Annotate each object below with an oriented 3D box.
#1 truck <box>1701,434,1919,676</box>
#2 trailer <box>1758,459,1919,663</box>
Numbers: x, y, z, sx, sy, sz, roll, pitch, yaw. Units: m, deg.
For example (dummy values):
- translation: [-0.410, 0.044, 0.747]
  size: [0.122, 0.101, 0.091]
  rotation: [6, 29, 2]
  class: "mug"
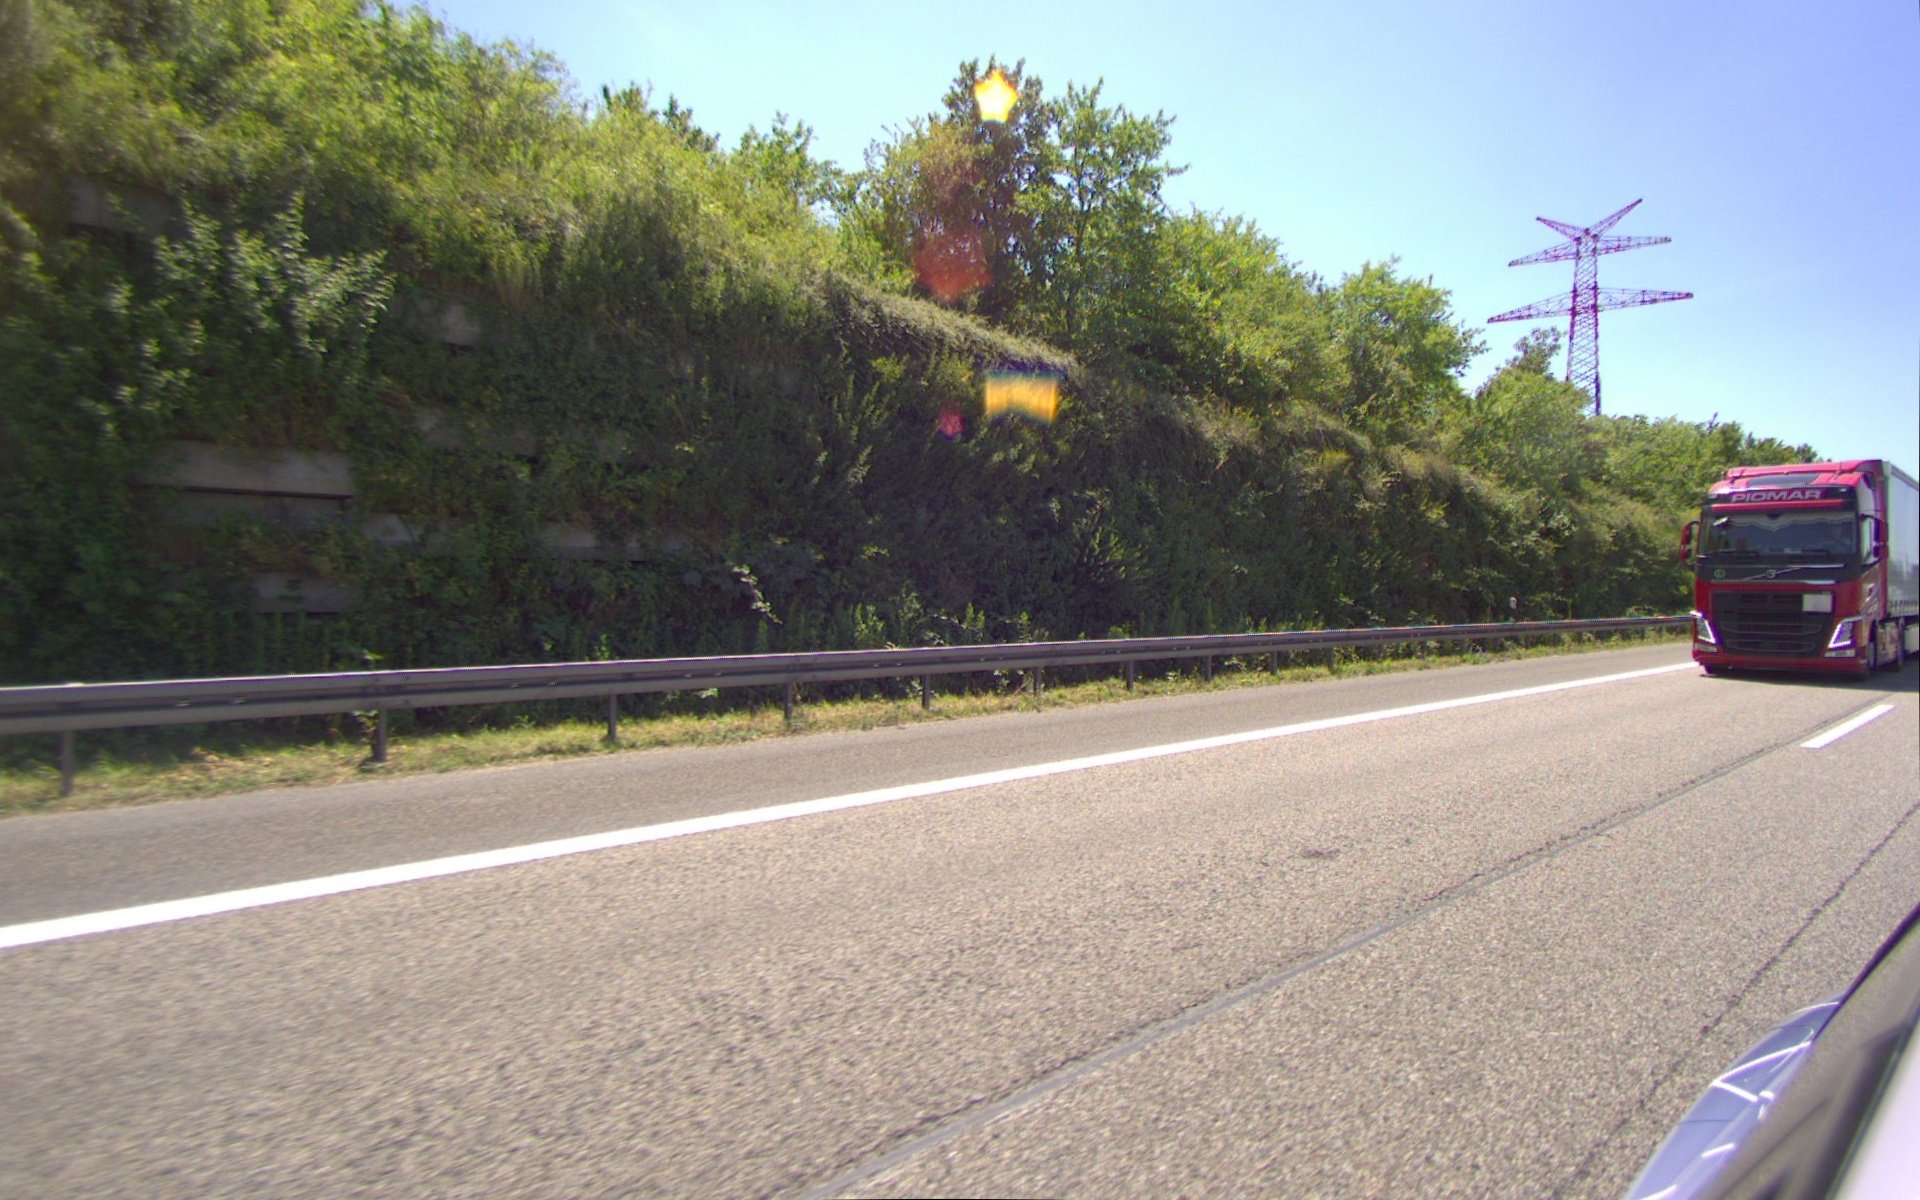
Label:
- translation: [16.959, -0.779, 19.856]
  size: [6.974, 3.969, 2.503]
  rotation: [0, 1, -42]
  class: "truck"
- translation: [23.064, -0.823, 25.316]
  size: [14.000, 3.958, 2.494]
  rotation: [0, 1, -42]
  class: "trailer"
